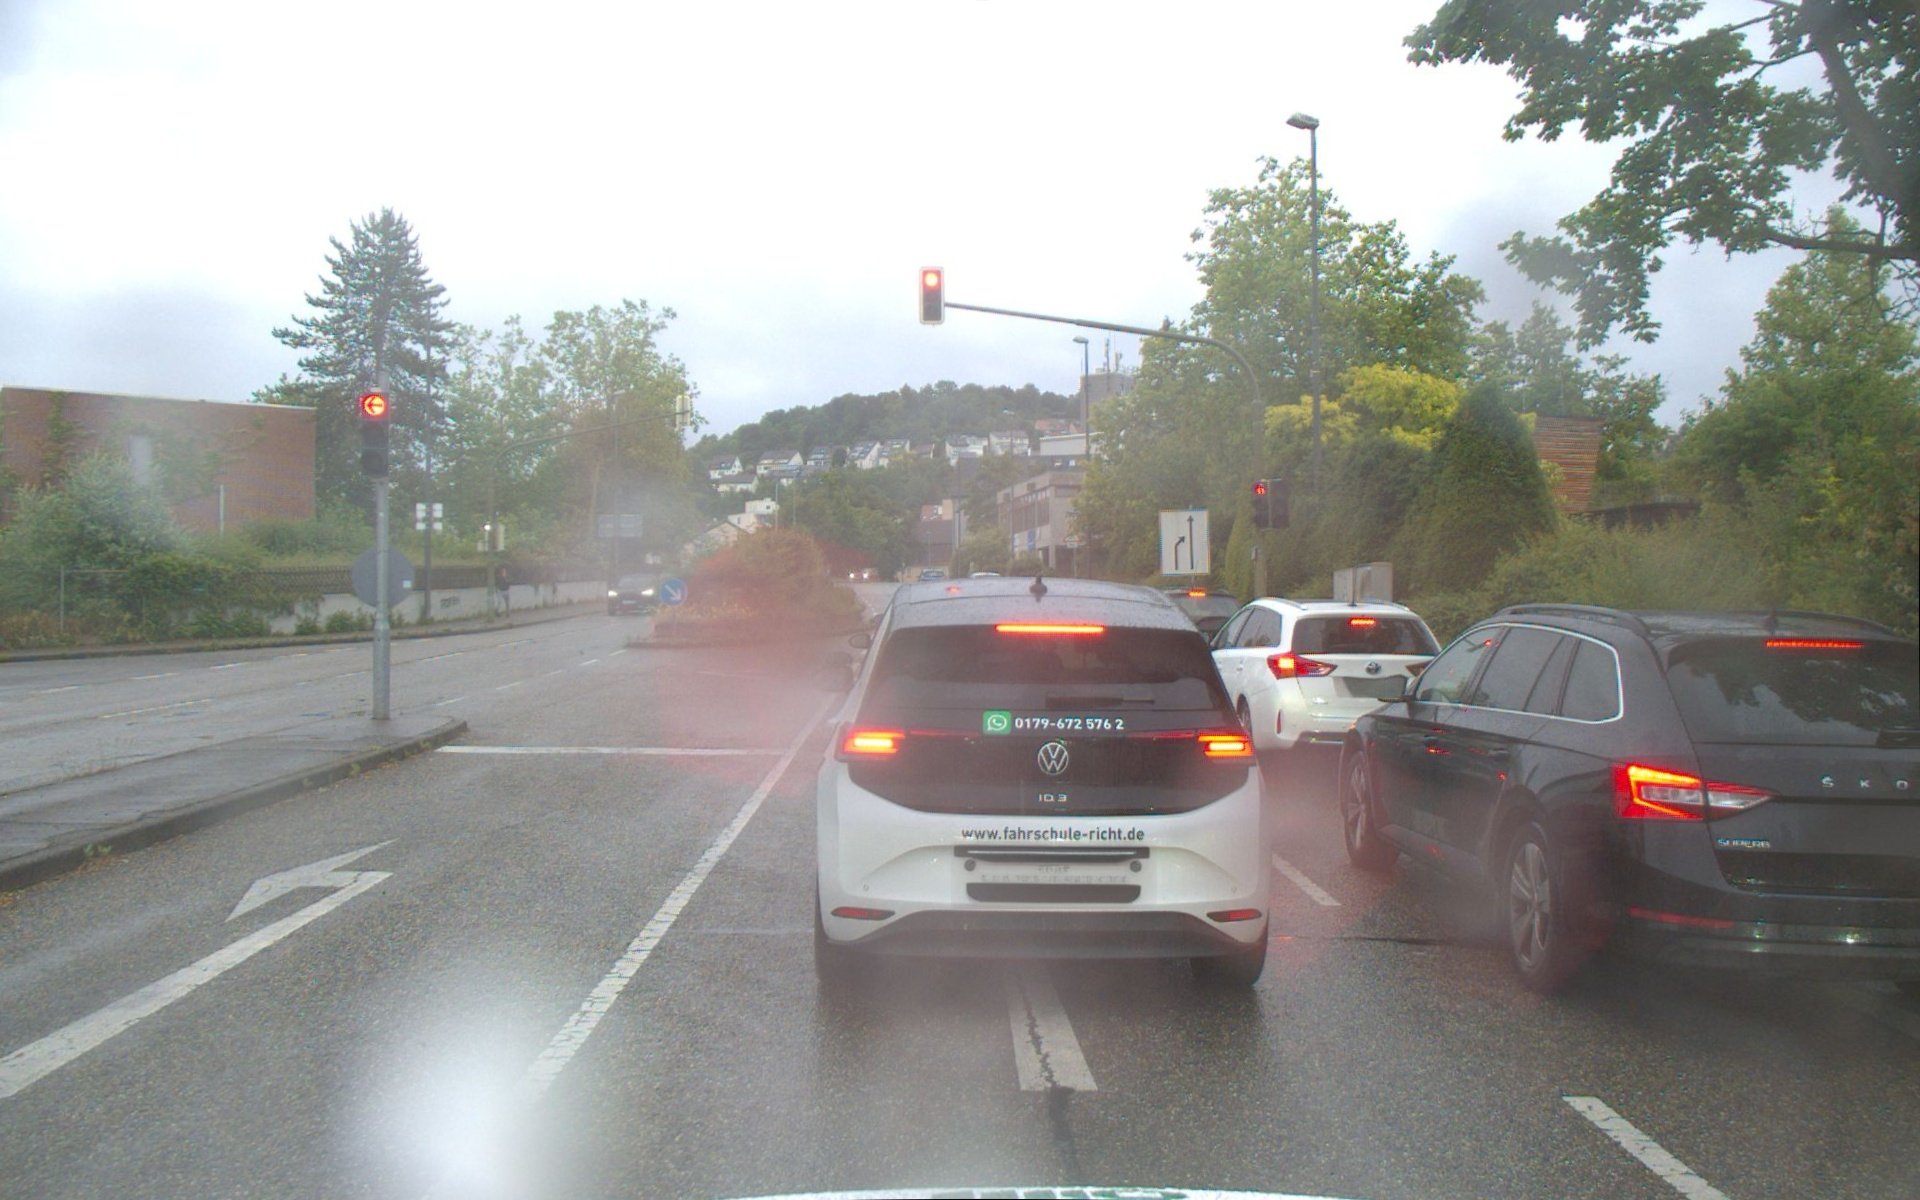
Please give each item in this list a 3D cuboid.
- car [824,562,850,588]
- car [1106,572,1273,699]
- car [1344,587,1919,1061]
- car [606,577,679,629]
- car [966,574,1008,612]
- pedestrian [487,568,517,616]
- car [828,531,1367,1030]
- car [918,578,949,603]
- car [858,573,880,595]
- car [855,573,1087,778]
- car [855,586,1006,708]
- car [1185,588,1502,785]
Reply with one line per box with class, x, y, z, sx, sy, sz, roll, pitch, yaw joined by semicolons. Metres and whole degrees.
car;-10.400;-2.083;139.952;1.953;2.049;3.999;1;-1;-1
car;3.141;0.462;23.384;1.739;1.609;3.999;1;0;-1
car;3.140;0.717;7.492;1.800;1.492;4.350;1;1;1
car;-12.028;0.106;62.930;1.953;1.836;3.999;-3;0;-1
car;1.116;-0.287;69.438;1.549;1.492;3.998;-1;0;-2
pedestrian;-15.625;-0.255;56.429;0.744;1.595;0.825;-2;0;-2
car;0.417;0.594;7.935;1.800;1.657;4.614;1;1;-1
car;-1.643;-0.613;101.011;1.726;1.443;3.747;-1;1;-3
car;-9.008;-1.562;164.492;1.953;2.049;3.999;1;-1;-1
car;0.038;0.577;15.186;1.800;1.582;4.174;1;1;-1
car;-0.399;0.559;21.935;1.800;1.424;3.830;1;1;-1
car;3.290;0.664;15.019;1.800;1.492;4.116;1;1;-1
